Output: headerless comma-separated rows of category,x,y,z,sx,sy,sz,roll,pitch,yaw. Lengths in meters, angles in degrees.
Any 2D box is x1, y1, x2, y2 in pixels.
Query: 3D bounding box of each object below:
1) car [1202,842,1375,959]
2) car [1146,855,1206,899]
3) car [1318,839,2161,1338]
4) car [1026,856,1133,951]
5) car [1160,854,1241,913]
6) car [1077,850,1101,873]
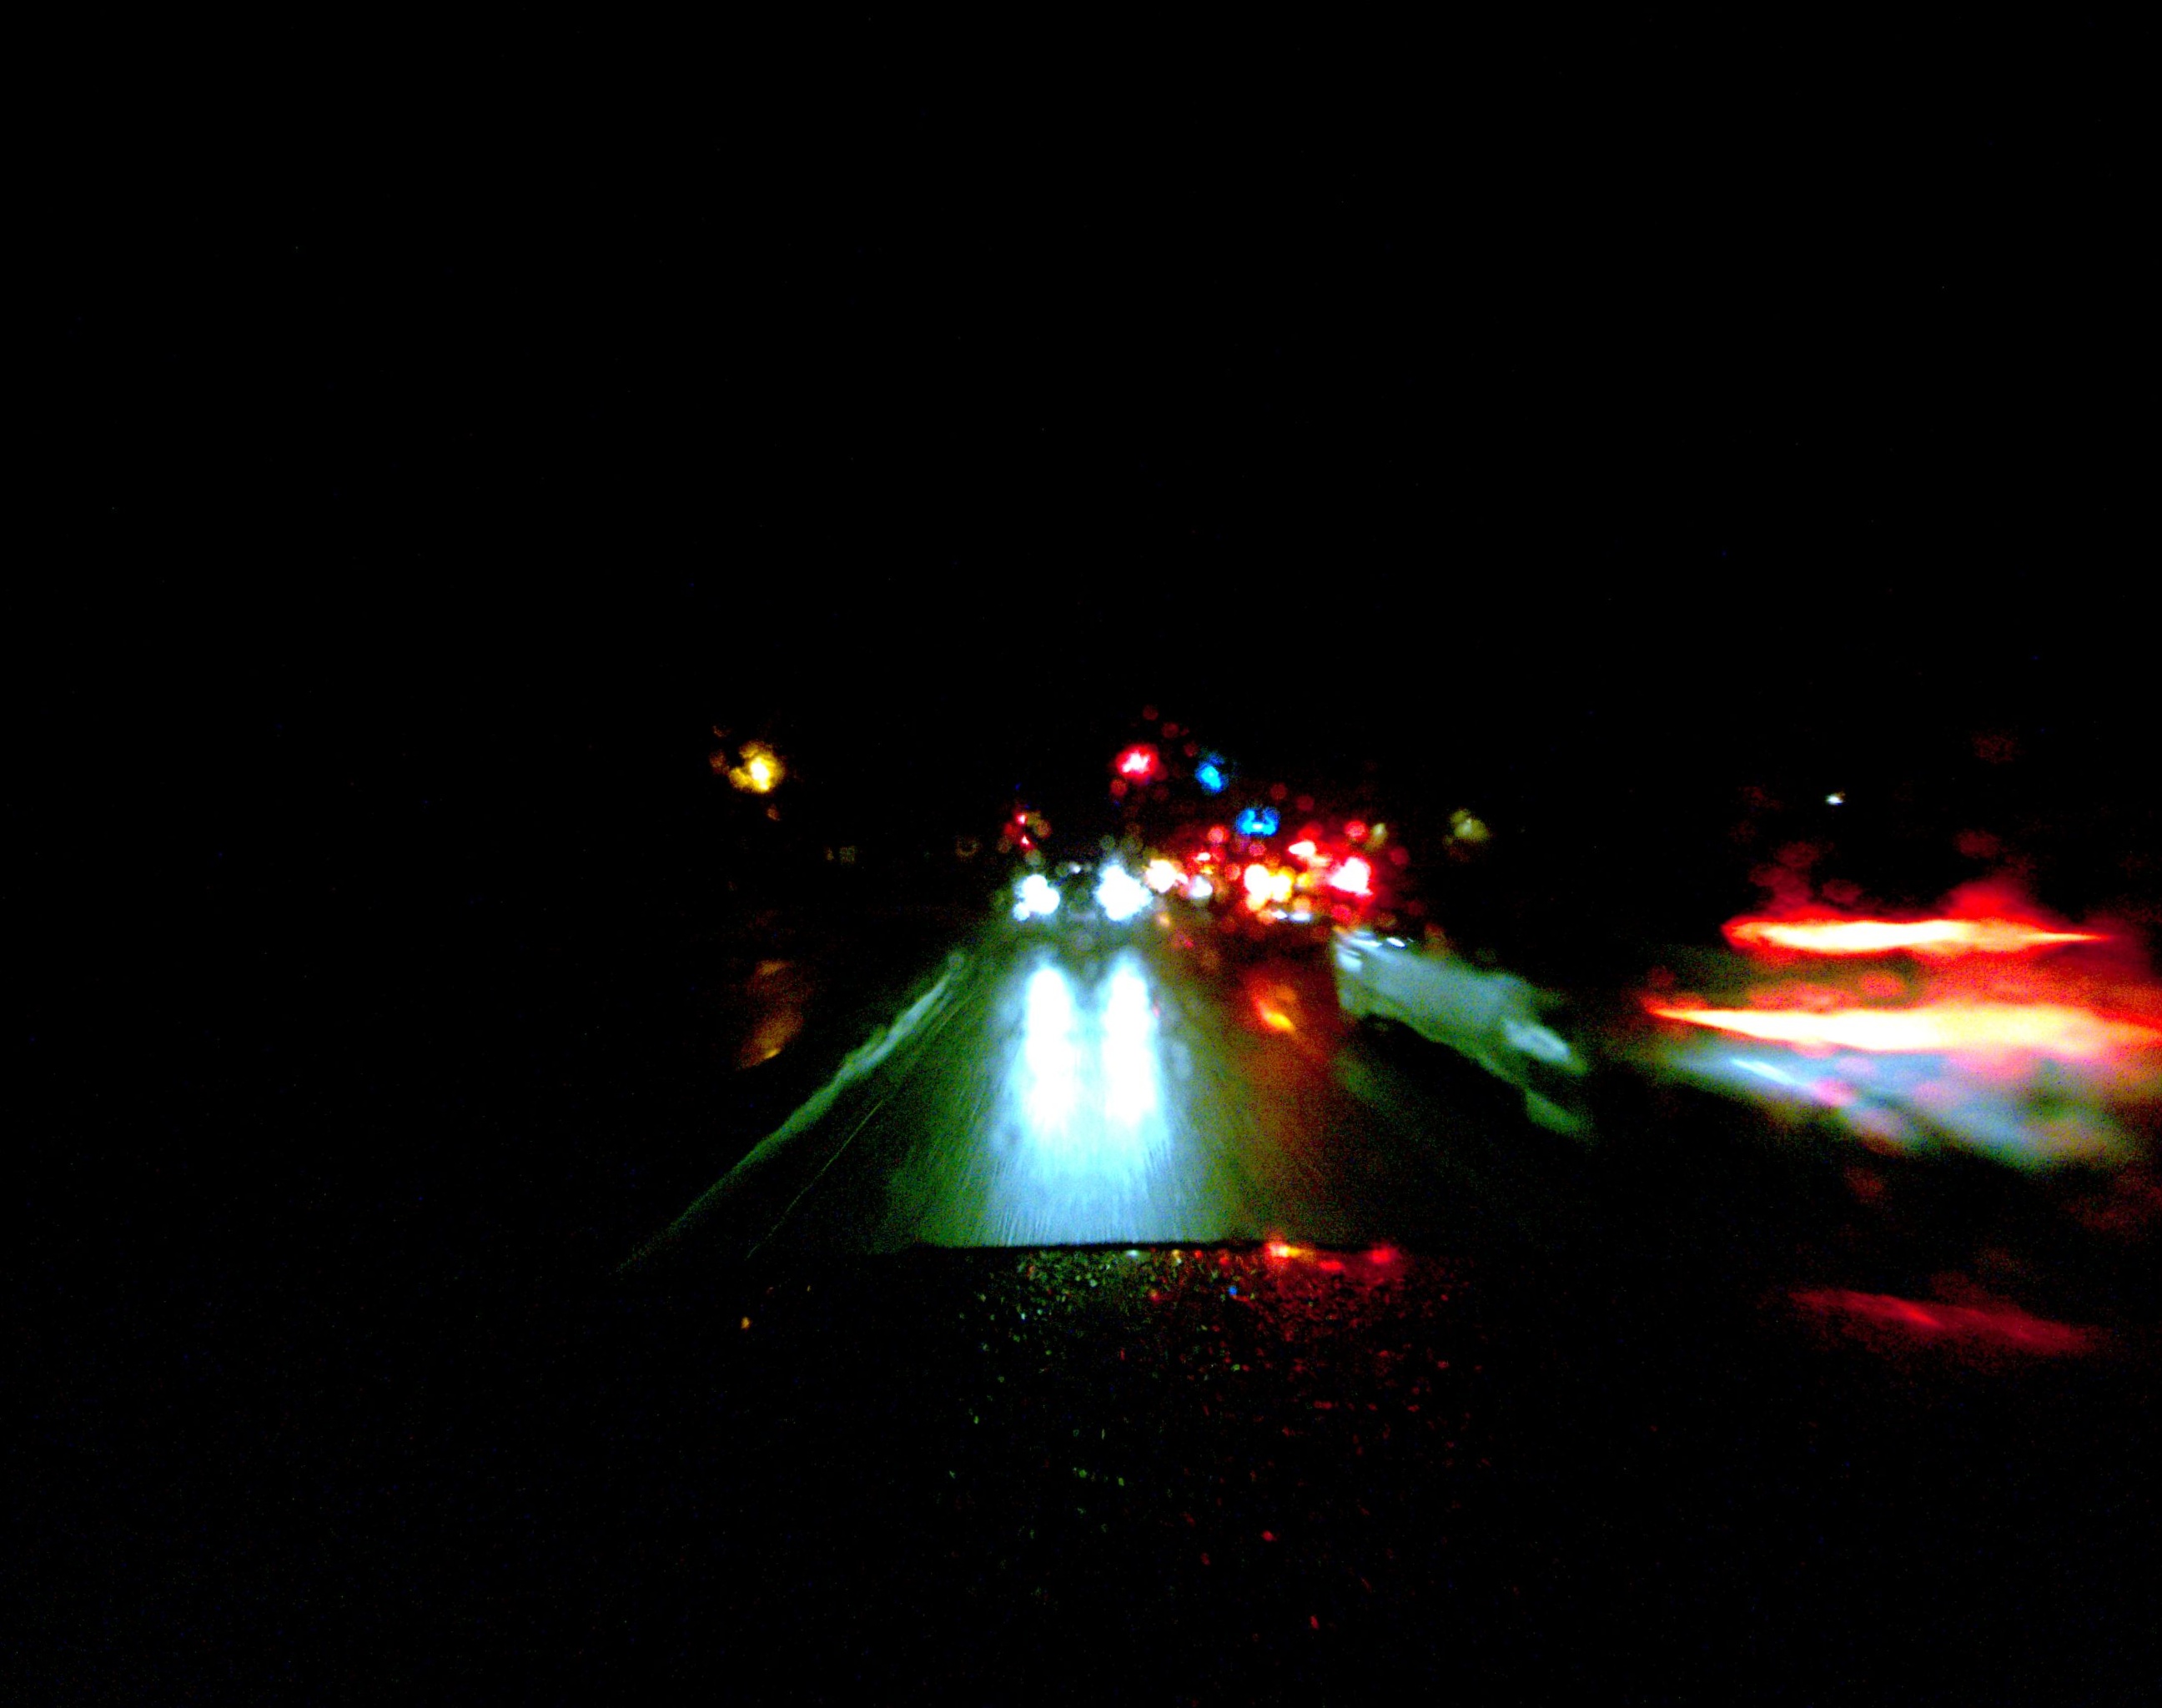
car,3.402,0.682,13.393,1.848,1.659,4.445,-2,0,1
car,3.459,0.804,28.134,1.673,1.464,3.633,-2,0,-1
car,3.145,0.760,4.763,1.848,1.565,4.596,-2,0,0
car,0.073,0.868,15.595,1.809,1.590,4.787,-2,0,2
car,3.329,0.771,21.785,1.626,1.464,3.884,-2,0,-1
car,0.757,0.641,65.225,1.759,1.807,4.711,-3,0,3
